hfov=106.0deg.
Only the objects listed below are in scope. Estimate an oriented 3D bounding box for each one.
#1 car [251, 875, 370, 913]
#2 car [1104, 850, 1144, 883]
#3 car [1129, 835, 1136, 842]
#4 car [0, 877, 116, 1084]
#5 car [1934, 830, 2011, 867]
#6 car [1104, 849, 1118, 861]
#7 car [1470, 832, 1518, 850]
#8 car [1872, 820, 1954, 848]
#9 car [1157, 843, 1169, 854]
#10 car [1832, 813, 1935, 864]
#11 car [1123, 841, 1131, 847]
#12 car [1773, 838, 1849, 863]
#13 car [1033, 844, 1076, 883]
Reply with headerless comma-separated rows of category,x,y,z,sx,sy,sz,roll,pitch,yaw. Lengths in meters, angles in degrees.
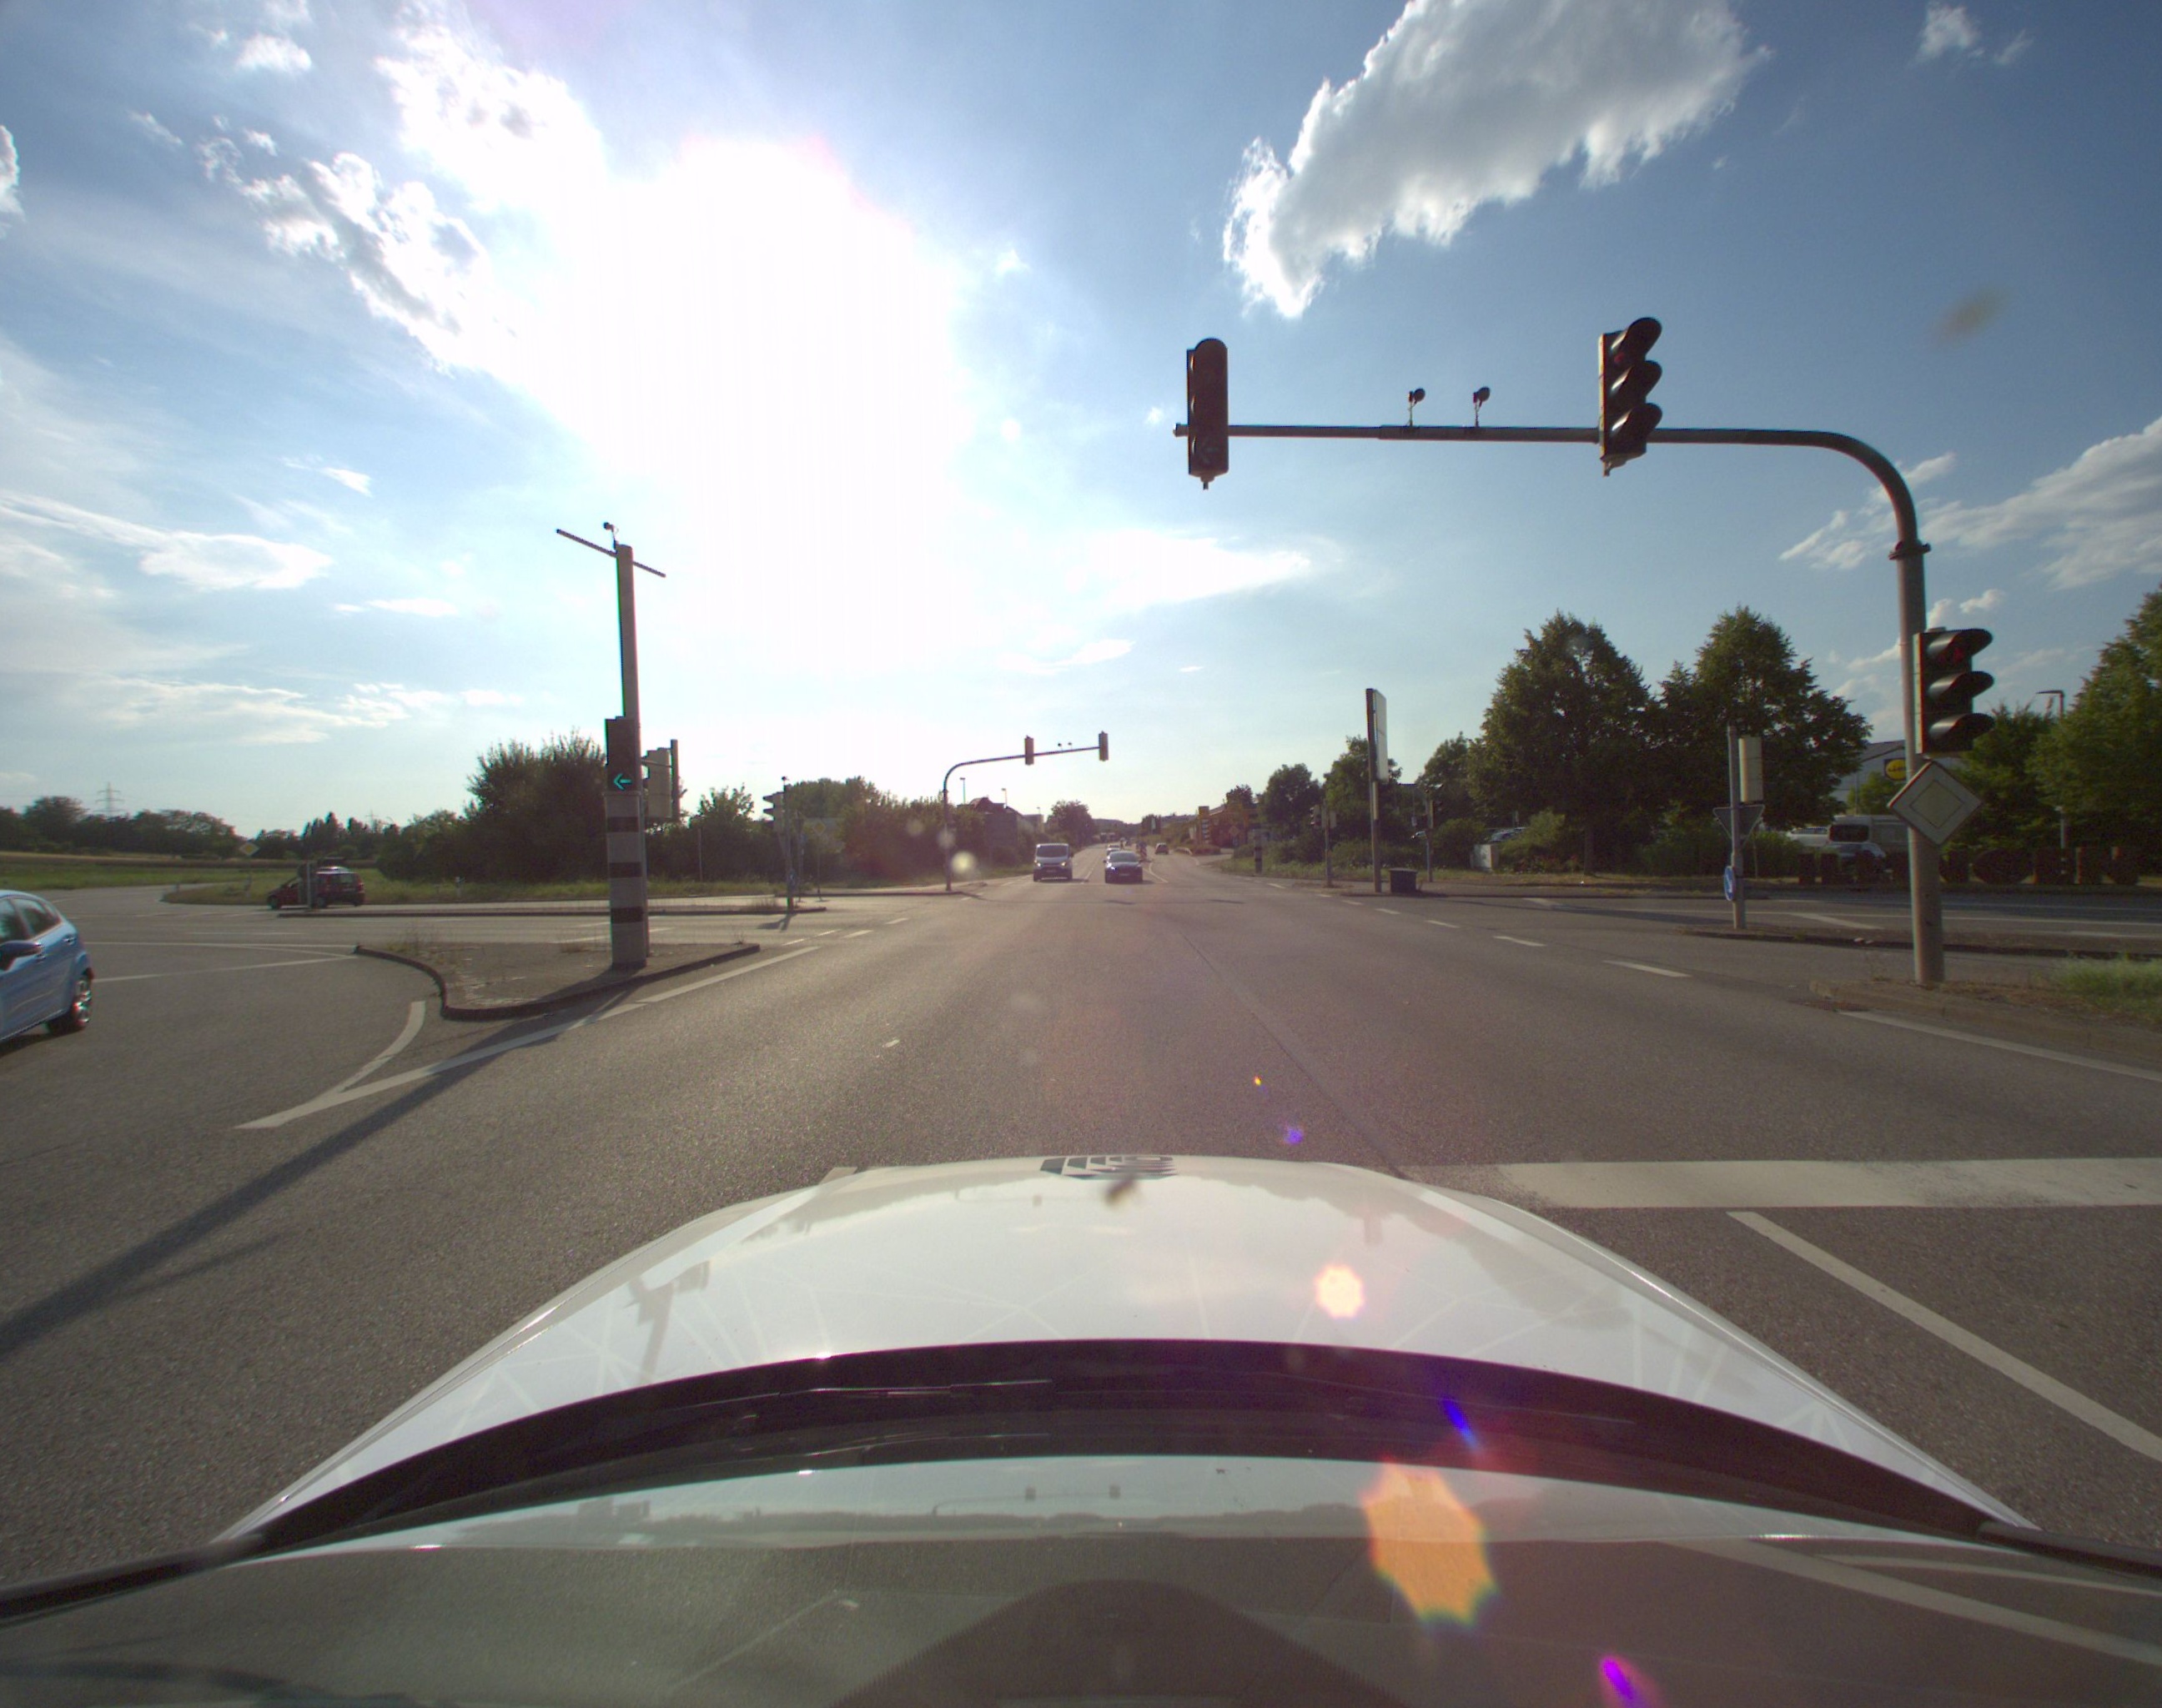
car,-32.777,1.688,34.670,3.820,1.500,1.733,-1,-1,10
car,2.147,0.596,39.658,1.780,1.497,4.307,0,-1,4
car,15.929,-4.936,252.486,1.988,2.014,3.996,0,-1,-2
car,-9.657,1.000,6.560,1.774,1.501,3.953,-2,1,-41
car,48.688,-0.300,44.466,4.000,1.954,1.443,0,-1,-20
car,4.029,0.145,108.696,1.850,1.513,4.955,0,0,2
car,46.422,-1.439,91.490,4.932,2.014,1.987,0,-1,-20
car,50.574,-1.181,49.555,1.571,1.550,3.221,0,-1,-32
car,10.940,-0.681,108.936,1.543,1.449,3.053,0,-1,4
car,41.557,-0.774,42.188,5.144,2.506,1.985,0,-1,-23
car,11.501,-2.428,203.676,1.736,1.352,3.201,0,-1,-2
car,44.776,-0.194,50.021,1.577,1.509,3.112,0,-1,-14
car,-1.356,0.438,43.604,1.893,1.947,4.822,0,1,3
